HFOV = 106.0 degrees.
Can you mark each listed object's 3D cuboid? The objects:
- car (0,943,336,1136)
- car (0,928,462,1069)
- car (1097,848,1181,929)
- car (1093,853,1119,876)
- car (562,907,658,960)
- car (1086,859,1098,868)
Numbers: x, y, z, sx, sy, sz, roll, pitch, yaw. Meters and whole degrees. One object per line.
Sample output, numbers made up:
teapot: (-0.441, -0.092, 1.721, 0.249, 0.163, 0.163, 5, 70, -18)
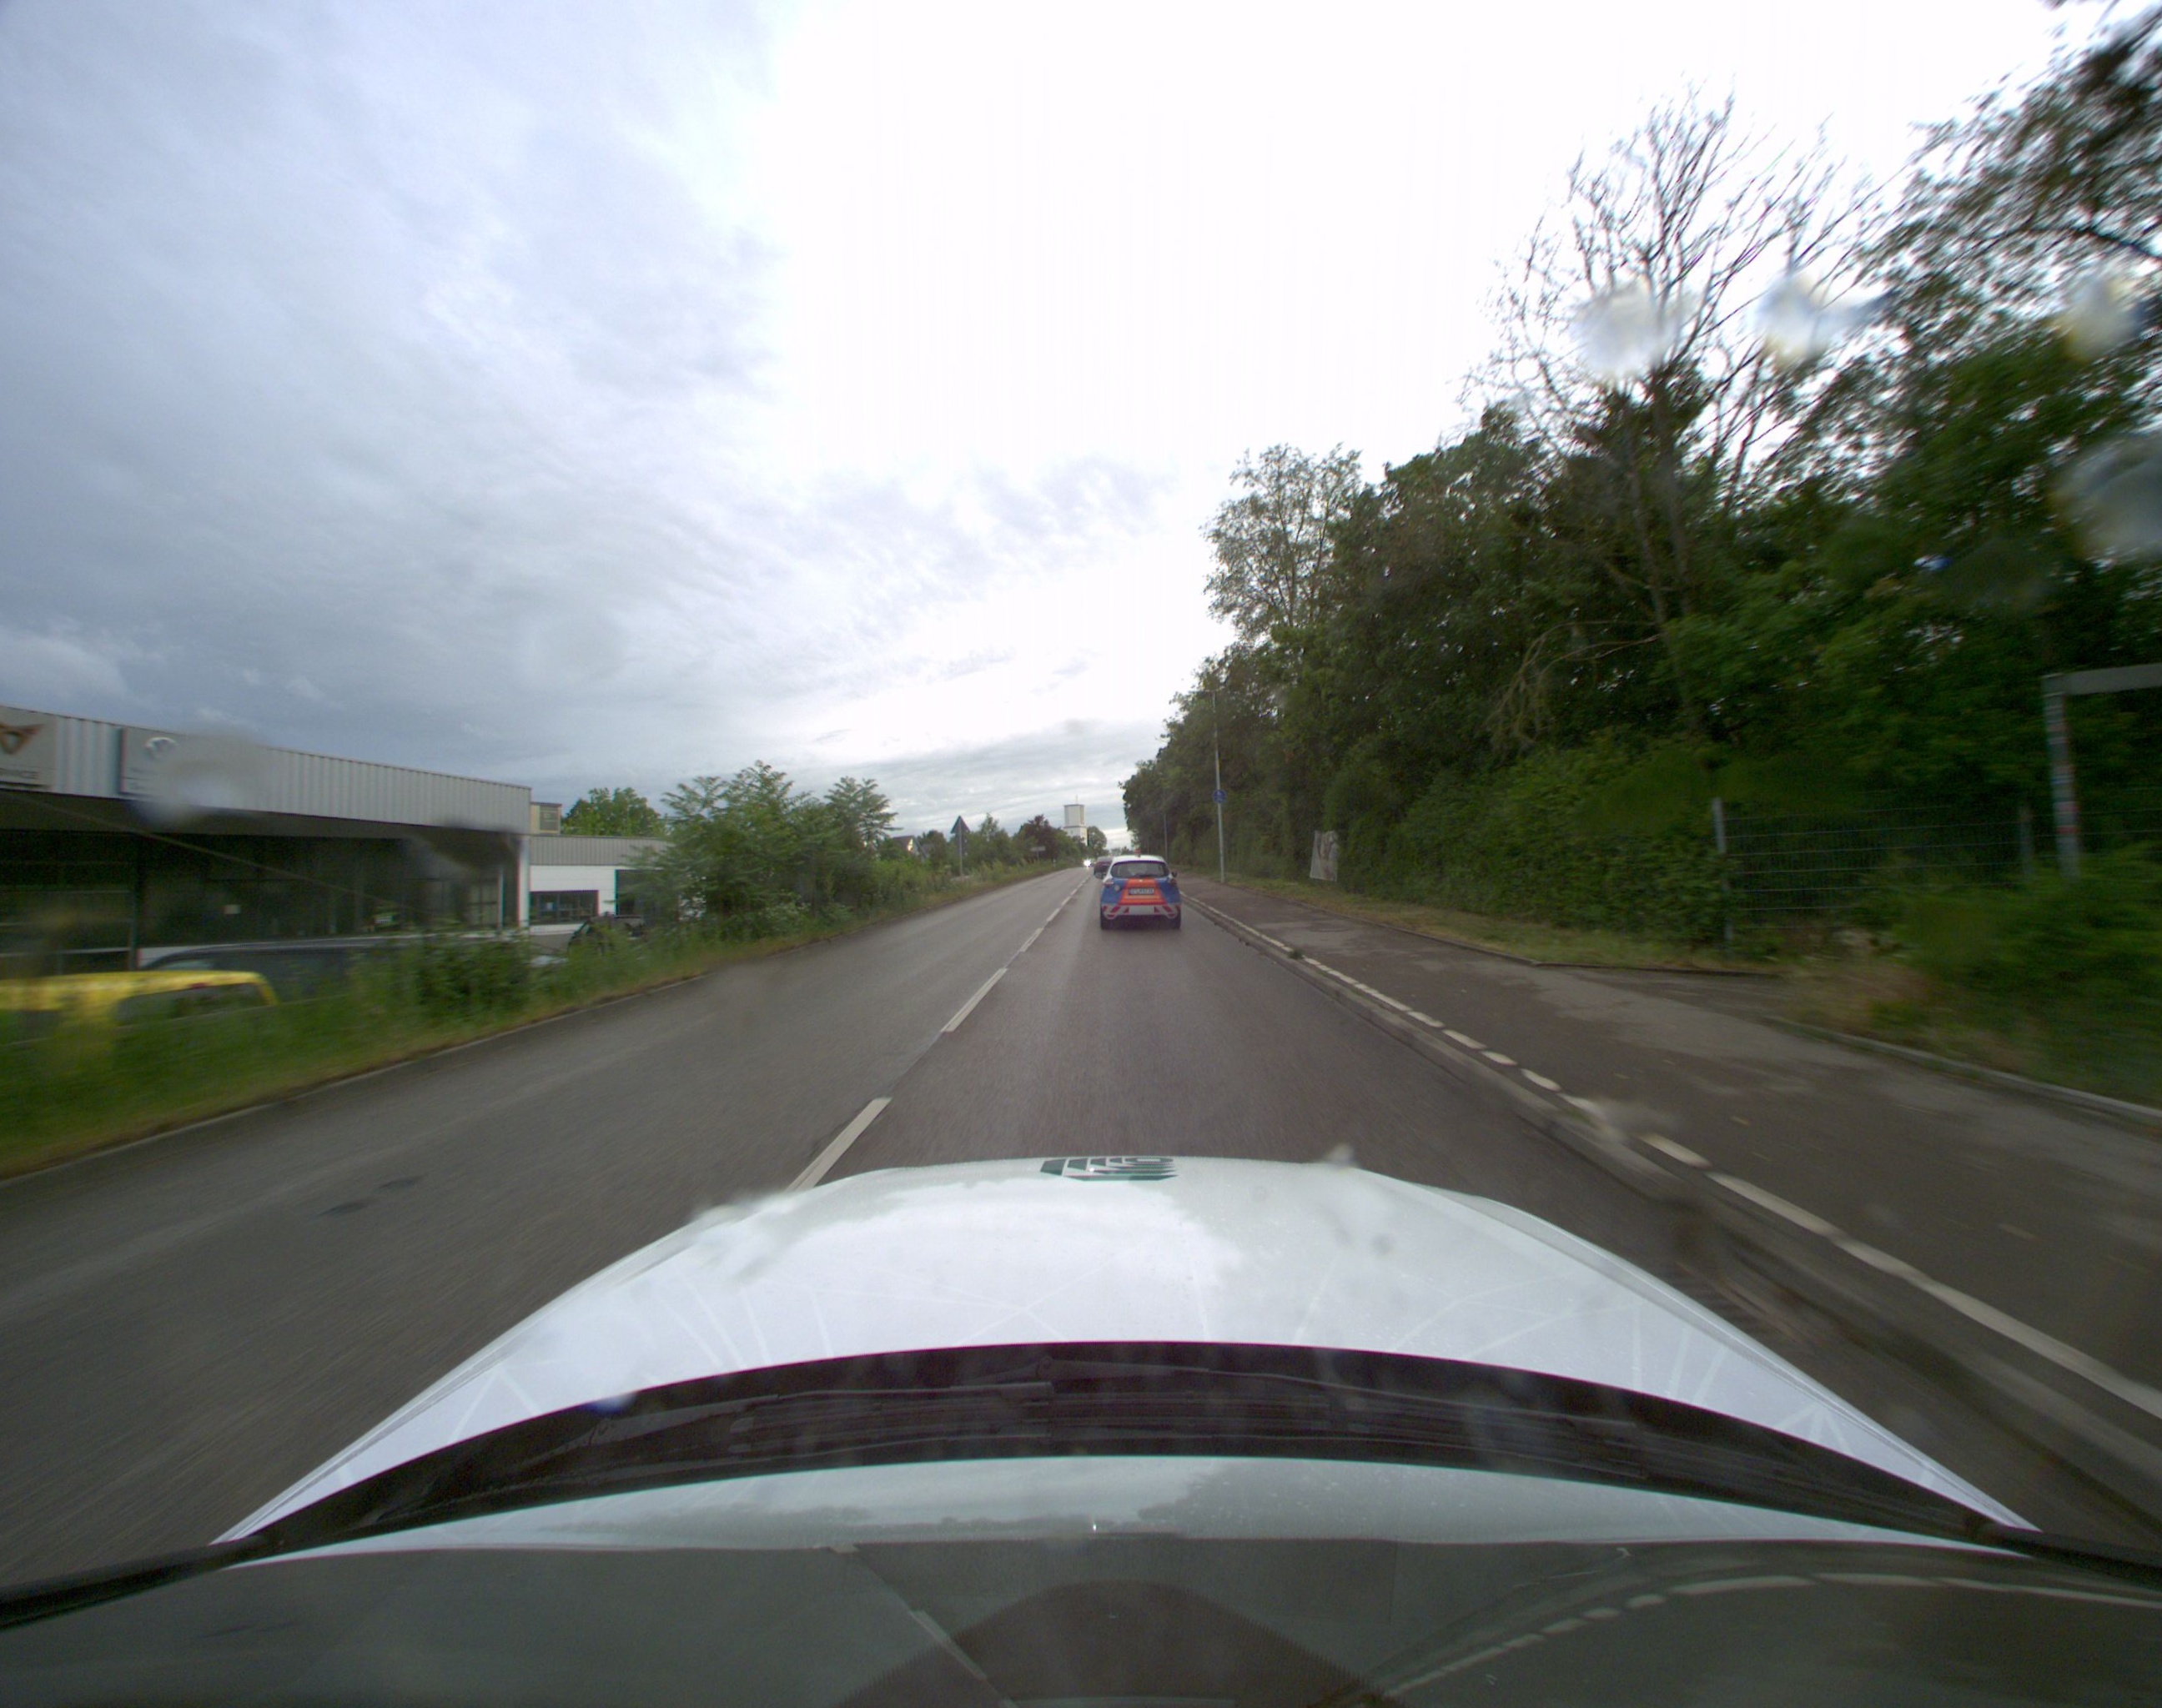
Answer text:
car: (-9.652, 1.647, 7.343, 4.052, 1.291, 1.803, -3, 0, -2)
car: (-10.309, 1.685, 9.907, 4.052, 1.211, 1.803, -3, 0, -2)
car: (1.241, 0.745, 18.362, 1.651, 1.593, 3.569, -2, -1, 2)
car: (1.881, 0.787, 62.010, 1.796, 1.590, 3.563, -3, -1, 1)
car: (-20.225, 3.444, 34.871, 4.581, 1.803, 1.880, -8, -1, 39)
car: (2.039, 1.627, 146.834, 1.860, 1.585, 4.420, 0, 0, 5)
